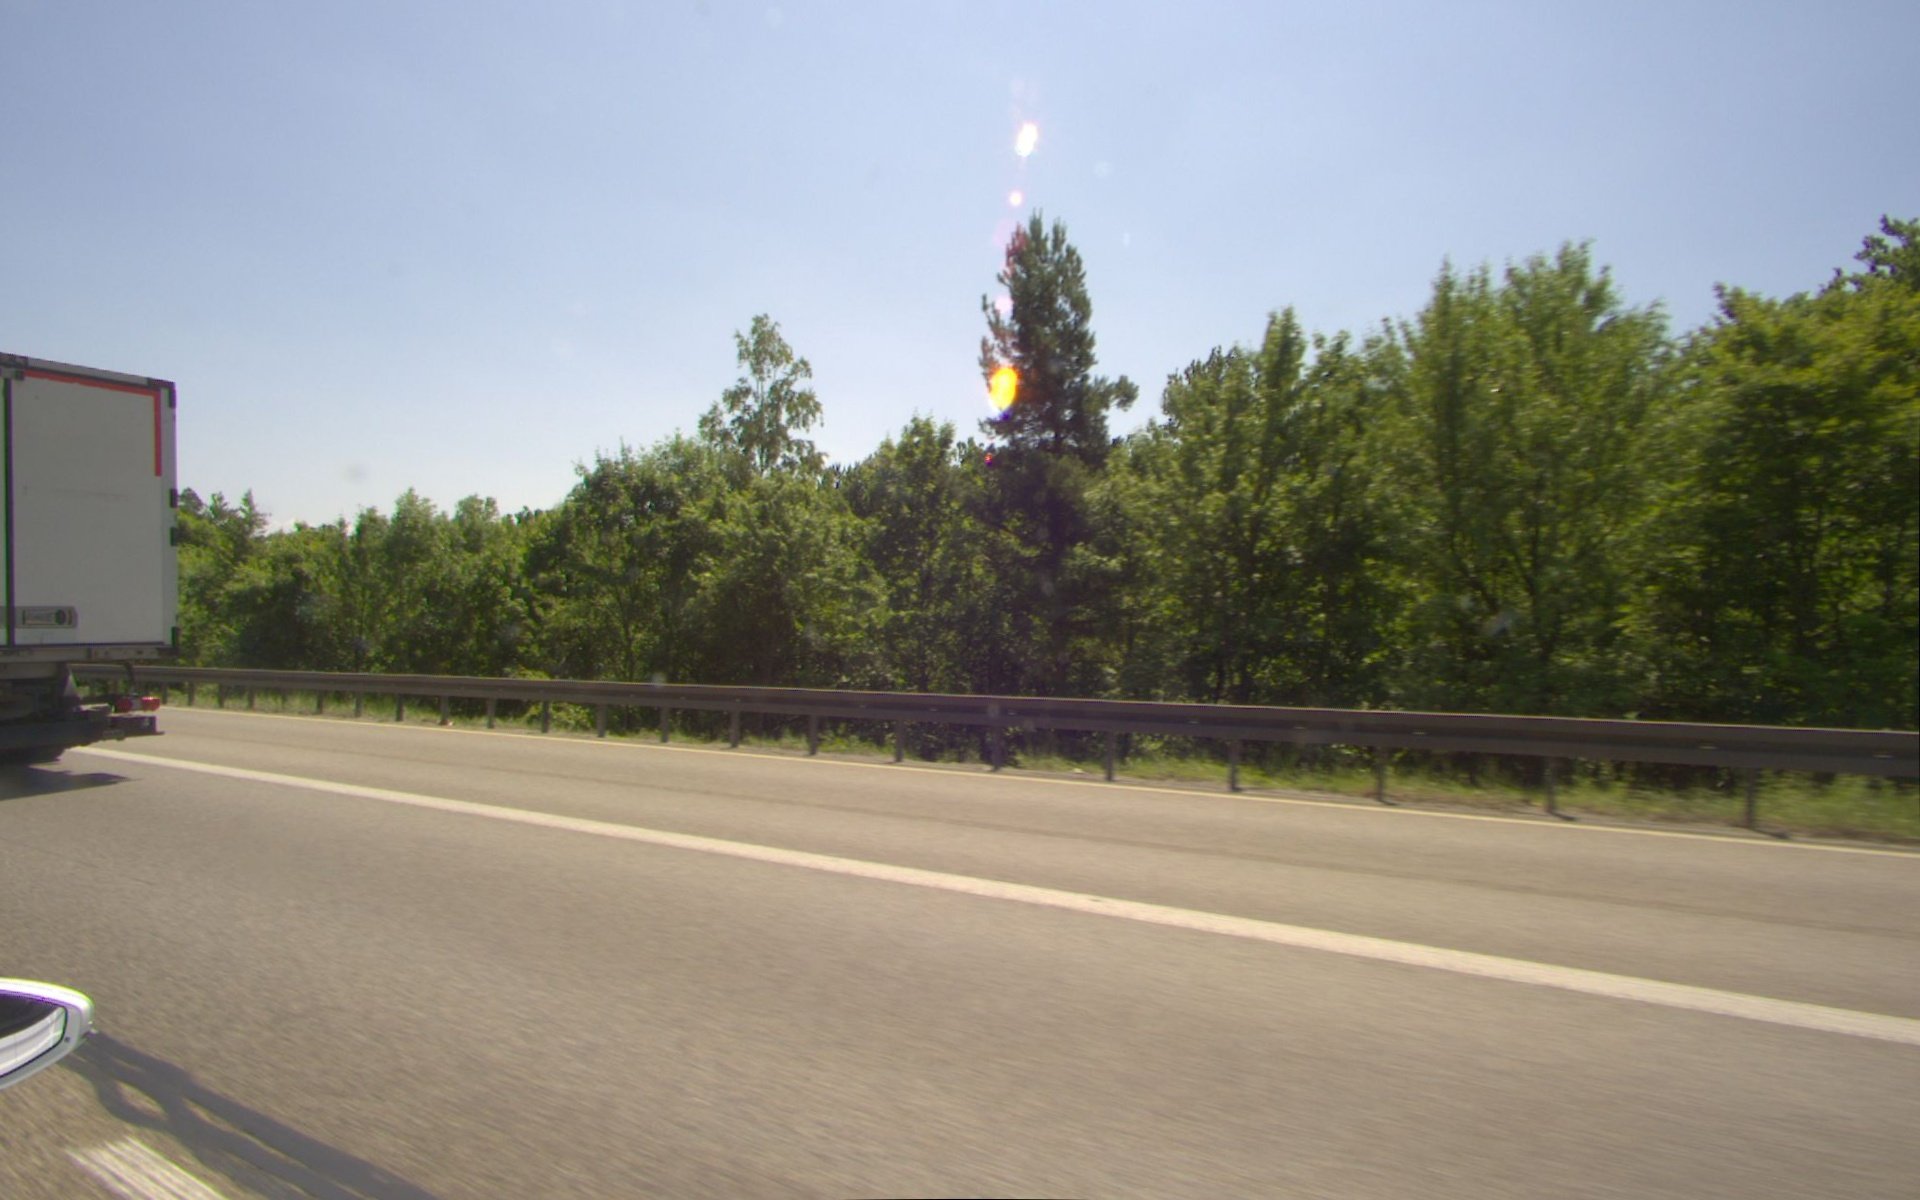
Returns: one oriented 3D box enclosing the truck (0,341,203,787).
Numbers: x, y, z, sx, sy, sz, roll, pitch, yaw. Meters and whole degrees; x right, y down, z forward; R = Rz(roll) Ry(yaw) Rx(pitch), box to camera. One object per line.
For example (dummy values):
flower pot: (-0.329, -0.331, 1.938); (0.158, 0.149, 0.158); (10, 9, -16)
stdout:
truck: (-12.487, -0.252, 11.457); (9.636, 3.927, 2.684); (-1, 0, 31)
